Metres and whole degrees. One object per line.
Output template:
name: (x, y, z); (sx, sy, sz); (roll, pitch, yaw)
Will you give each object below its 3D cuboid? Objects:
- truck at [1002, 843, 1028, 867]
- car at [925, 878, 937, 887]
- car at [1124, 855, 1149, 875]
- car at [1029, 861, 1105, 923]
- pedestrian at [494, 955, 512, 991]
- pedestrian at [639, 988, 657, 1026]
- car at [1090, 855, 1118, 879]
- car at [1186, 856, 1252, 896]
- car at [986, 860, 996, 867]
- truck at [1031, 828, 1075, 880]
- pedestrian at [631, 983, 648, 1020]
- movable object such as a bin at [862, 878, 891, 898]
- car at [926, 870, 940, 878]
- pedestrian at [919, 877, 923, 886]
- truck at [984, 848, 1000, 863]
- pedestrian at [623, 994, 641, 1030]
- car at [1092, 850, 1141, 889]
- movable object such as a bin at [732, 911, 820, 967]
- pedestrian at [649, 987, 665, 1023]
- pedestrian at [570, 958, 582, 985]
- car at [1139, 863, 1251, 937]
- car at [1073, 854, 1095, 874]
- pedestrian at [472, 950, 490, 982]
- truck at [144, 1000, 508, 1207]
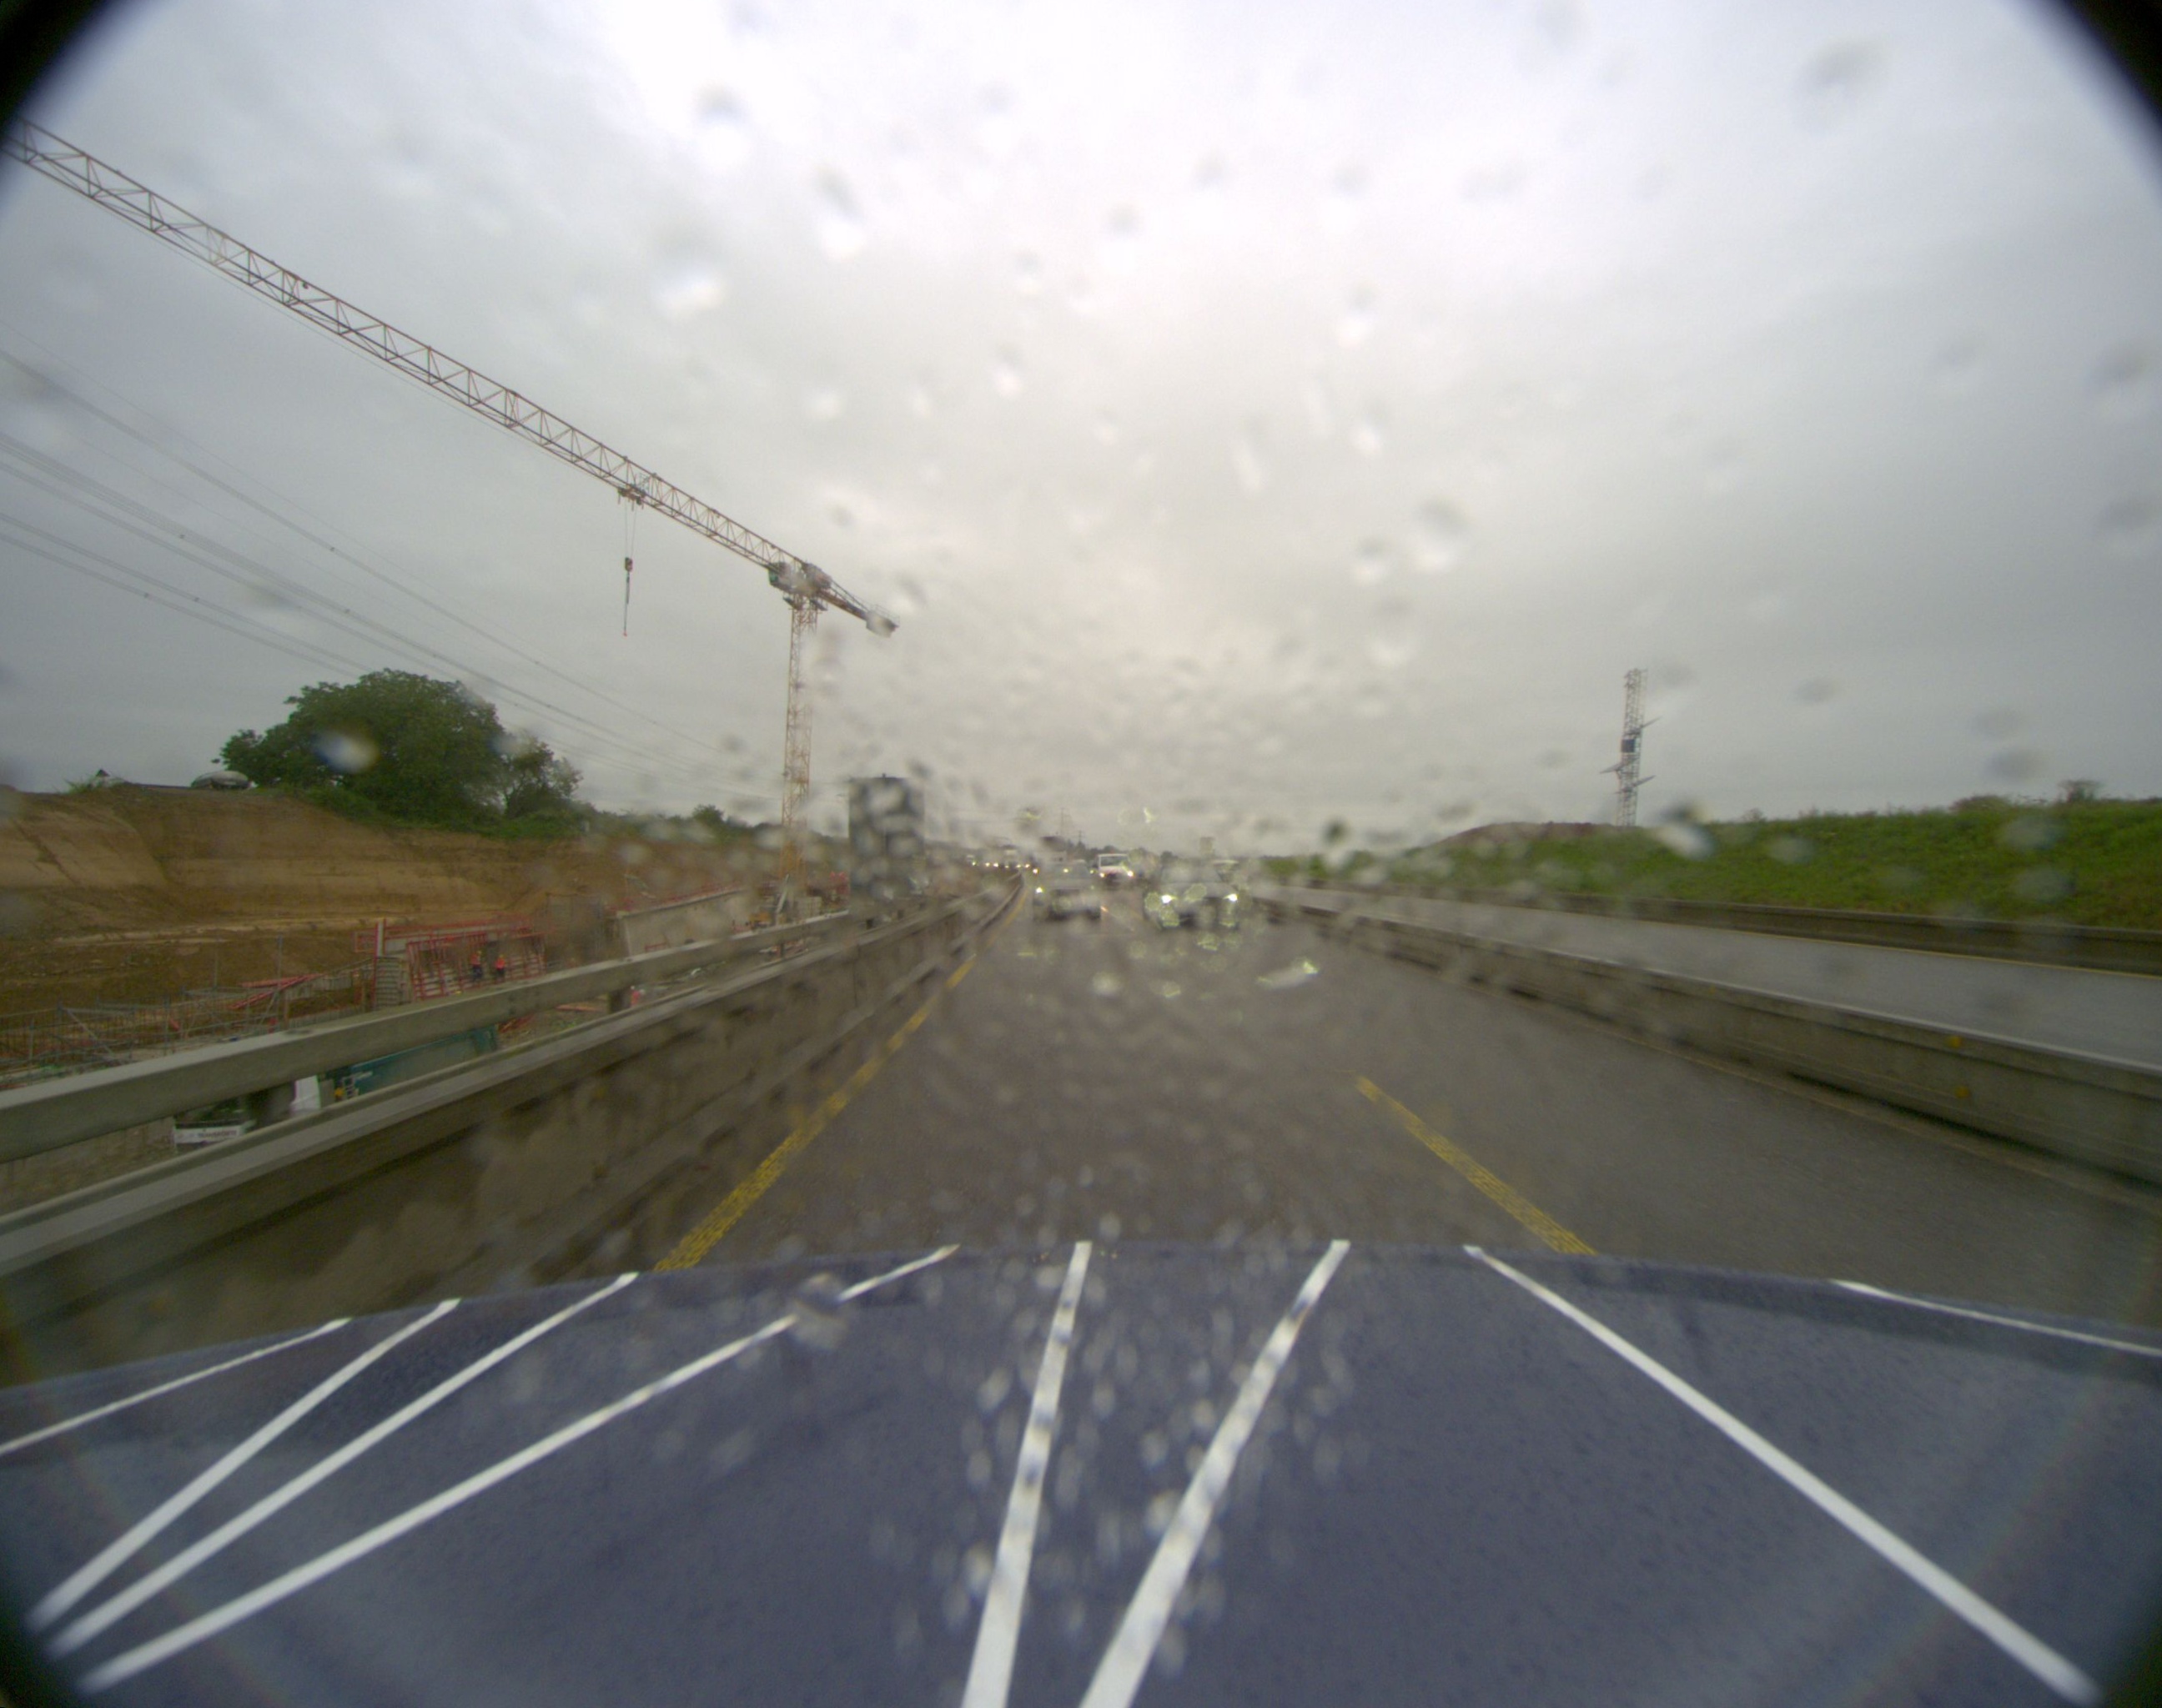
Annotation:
truck: (-12.848, 0.145, 145.743); (4.320, 4.319, 13.399); (-2, 0, -7)
car: (-29.462, 5.636, 149.109); (1.860, 1.609, 4.078); (0, 1, -4)
car: (4.508, 0.868, 61.801); (1.653, 1.494, 3.829); (-2, 0, -1)
car: (-0.379, 0.961, 21.154); (1.874, 1.481, 4.260); (-1, 0, -1)
pedestrian: (-35.566, 7.340, 46.771); (0.489, 2.087, 0.481); (-6, 1, -3)
pedestrian: (-23.146, 8.170, 40.625); (0.603, 1.894, 0.614); (1, 1, -3)
car: (1.571, 0.889, 53.105); (1.626, 1.583, 3.999); (-2, 0, -3)
car: (5.724, 0.873, 32.079); (1.748, 1.494, 4.633); (-2, 0, -2)
car: (-19.679, 2.038, 165.915); (1.790, 1.418, 3.999); (-2, 0, -3)
truck: (-1.965, -0.051, 55.154); (2.856, 3.462, 8.642); (-1, 1, -1)
pedestrian: (-24.303, 8.116, 41.804); (0.603, 1.894, 0.481); (2, 1, -3)
movable object such as a bin: (-32.951, 5.441, 122.376); (3.502, 2.865, 3.998); (5, 0, -3)
car: (-33.075, 4.479, 169.929); (2.351, 1.609, 4.857); (0, 1, -4)
pedestrian: (-30.043, 5.168, 143.013); (0.614, 1.671, 0.603); (-2, 1, -2)
truck: (-22.832, 0.362, 195.080); (3.546, 3.871, 8.332); (-2, 0, -3)
pedestrian: (-23.588, 8.283, 39.937); (0.603, 1.759, 0.481); (3, 1, -3)
car: (1.824, 0.771, 40.650); (2.070, 1.933, 5.154); (-1, 1, -3)
movable object such as a bin: (-23.415, 6.486, 58.807); (3.515, 3.405, 6.654); (-1, 2, 6)
pedestrian: (-23.231, 8.272, 41.602); (0.603, 1.894, 0.481); (1, 1, -3)
pedestrian: (-35.166, 8.185, 52.882); (0.489, 1.750, 0.481); (1, 1, -3)
car: (2.441, 0.947, 17.243); (1.805, 1.375, 4.086); (-1, 1, -2)
car: (0.244, 0.886, 71.091); (1.790, 1.744, 3.999); (-2, 0, -3)
pedestrian: (-35.638, 6.637, 45.157); (0.488, 1.793, 0.583); (-5, 2, 37)
truck: (-23.554, 7.544, 24.818); (2.709, 3.591, 9.072); (1, 1, 1)
